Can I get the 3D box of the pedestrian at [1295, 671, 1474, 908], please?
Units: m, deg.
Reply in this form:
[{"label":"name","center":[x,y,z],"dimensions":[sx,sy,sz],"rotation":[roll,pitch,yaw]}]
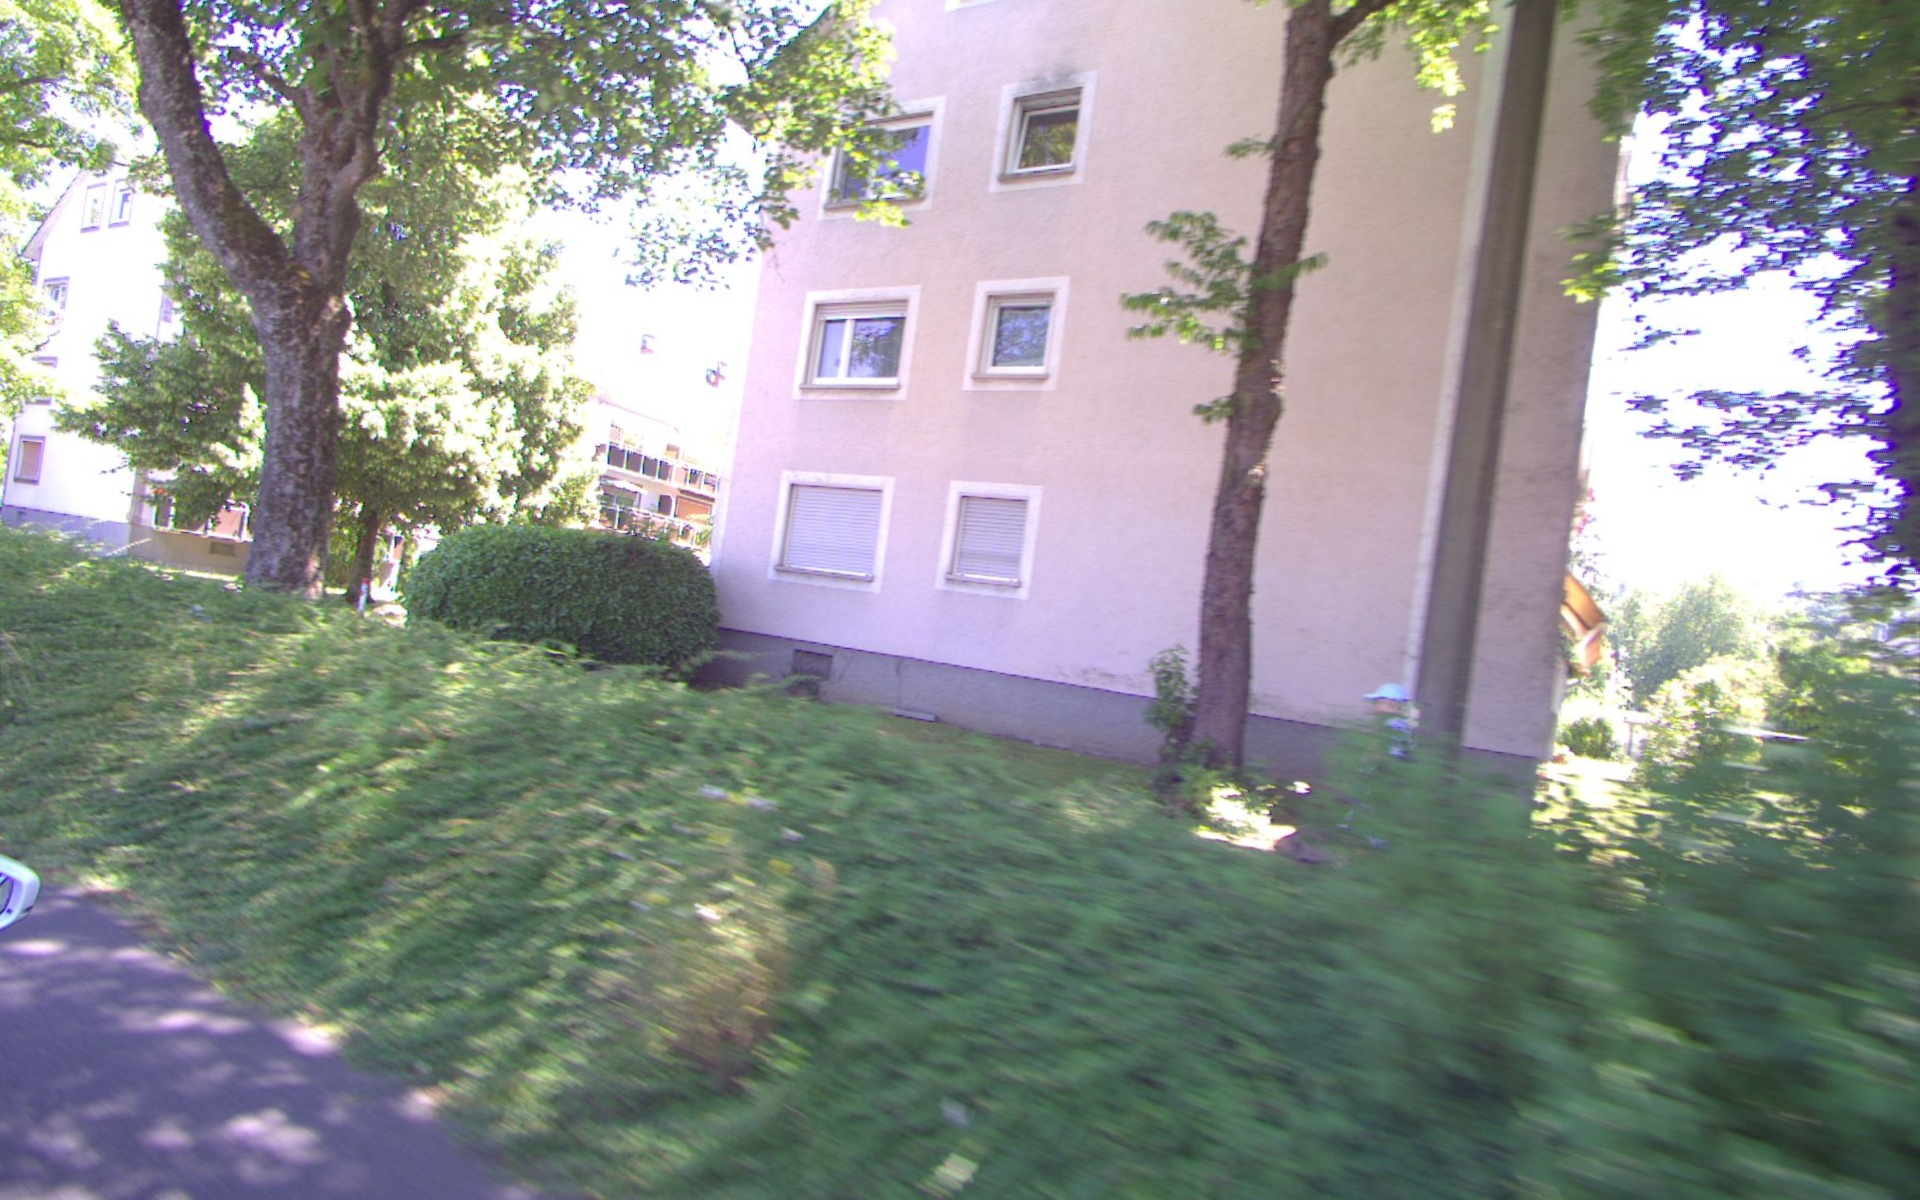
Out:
[{"label":"pedestrian","center":[2.841,1.219,6.723],"dimensions":[0.874,1.350,0.663],"rotation":[7,-1,32]}]
